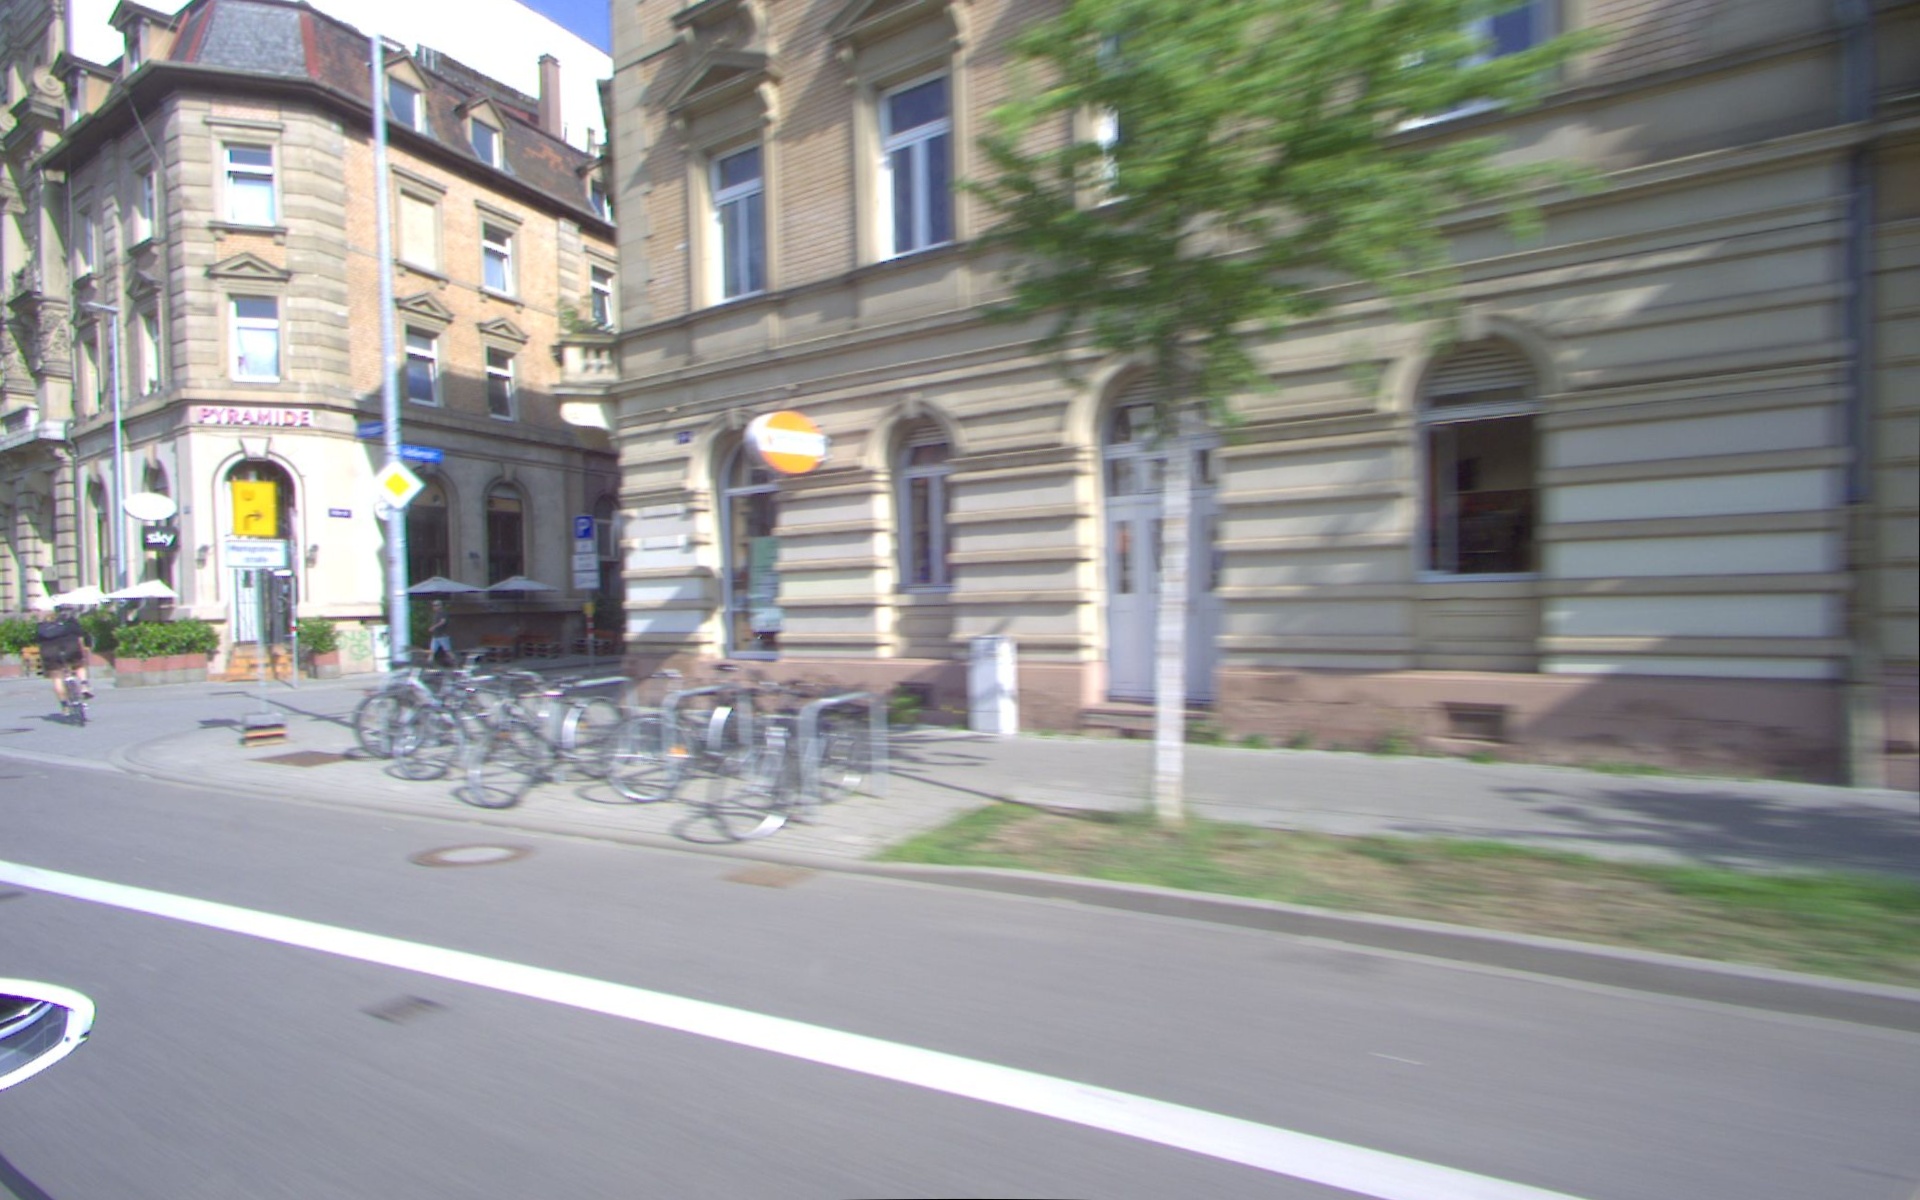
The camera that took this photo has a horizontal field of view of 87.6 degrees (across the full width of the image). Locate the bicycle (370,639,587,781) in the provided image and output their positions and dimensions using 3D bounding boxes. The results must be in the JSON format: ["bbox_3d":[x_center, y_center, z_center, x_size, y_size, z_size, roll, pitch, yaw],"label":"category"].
[{"bbox_3d":[-4.612,1.005,9.708,0.660,1.102,1.747,0,3,38],"label":"bicycle"}]

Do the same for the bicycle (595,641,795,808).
[{"bbox_3d":[-2.191,0.988,8.542,0.647,1.103,1.754,-1,3,24],"label":"bicycle"}]

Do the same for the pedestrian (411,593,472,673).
[{"bbox_3d":[-12.421,0.768,24.002,0.978,1.831,0.860,1,3,30],"label":"pedestrian"}]

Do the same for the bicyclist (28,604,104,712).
[{"bbox_3d":[-12.797,0.807,14.336,0.918,1.502,0.582,0,1,33],"label":"bicyclist"}]

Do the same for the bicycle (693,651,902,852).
[{"bbox_3d":[-1.106,1.015,7.291,0.601,1.103,1.754,-1,3,24],"label":"bicycle"}]

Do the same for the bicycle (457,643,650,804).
[{"bbox_3d":[-3.482,1.023,8.774,0.660,1.103,1.758,-2,3,10],"label":"bicycle"}]

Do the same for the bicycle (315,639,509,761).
[{"bbox_3d":[-5.961,1.044,10.996,0.575,1.102,1.745,0,3,36],"label":"bicycle"}]

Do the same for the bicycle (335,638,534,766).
[{"bbox_3d":[-5.509,1.027,10.602,0.575,1.102,1.745,0,3,36],"label":"bicycle"}]

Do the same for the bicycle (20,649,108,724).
[{"bbox_3d":[-12.883,1.216,14.379,1.760,0.966,0.504,0,1,34],"label":"bicycle"}]
